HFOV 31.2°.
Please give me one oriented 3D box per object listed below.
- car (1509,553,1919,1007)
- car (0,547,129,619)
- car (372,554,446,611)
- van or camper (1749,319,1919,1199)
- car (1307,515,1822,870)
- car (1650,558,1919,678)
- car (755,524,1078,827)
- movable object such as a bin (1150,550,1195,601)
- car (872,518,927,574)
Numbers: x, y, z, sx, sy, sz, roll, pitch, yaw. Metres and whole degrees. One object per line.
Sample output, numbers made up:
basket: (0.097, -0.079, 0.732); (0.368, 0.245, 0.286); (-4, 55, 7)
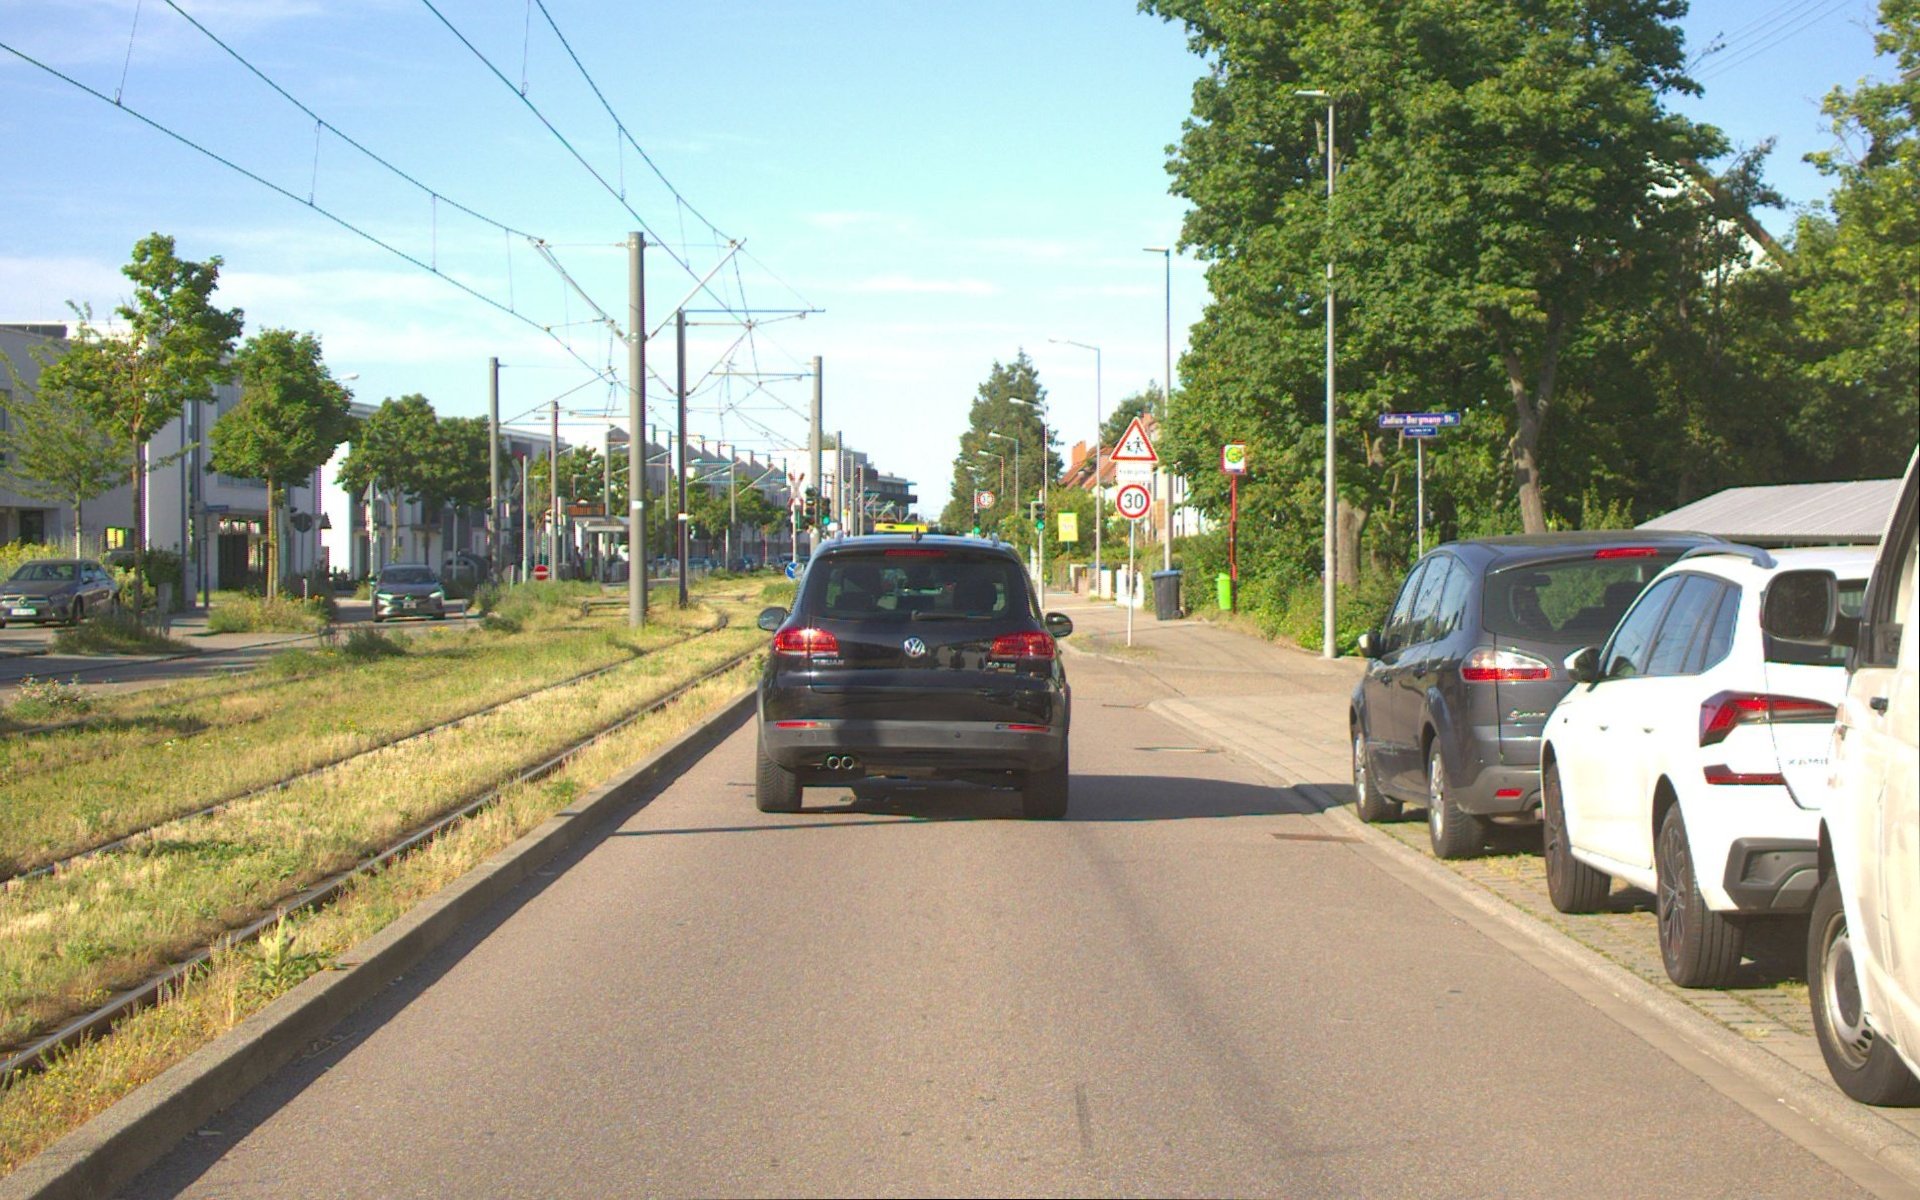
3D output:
car: (3.263, 0.565, 13.375); (1.656, 1.487, 4.159); (-1, 1, 1)
car: (-19.144, -0.375, 72.681); (1.811, 1.456, 4.317); (1, 1, 4)
car: (-14.134, -0.465, 88.368); (1.688, 1.384, 4.389); (-2, 1, -7)
van or camper: (3.026, 0.391, 7.496); (2.028, 1.949, 5.293); (0, 1, 7)
car: (3.134, 0.392, 18.838); (1.791, 1.623, 4.861); (-2, 1, -1)
car: (10.937, 0.227, 44.718); (3.595, 1.525, 1.647); (0, 0, 1)
car: (-0.328, 0.399, 21.254); (1.775, 1.664, 4.000); (1, 1, -2)
movable object such as a bin: (4.697, -0.538, 75.900); (0.976, 1.107, 1.170); (0, 1, 3)
car: (-2.762, -2.477, 157.880); (2.394, 2.556, 5.530); (0, 1, 0)
